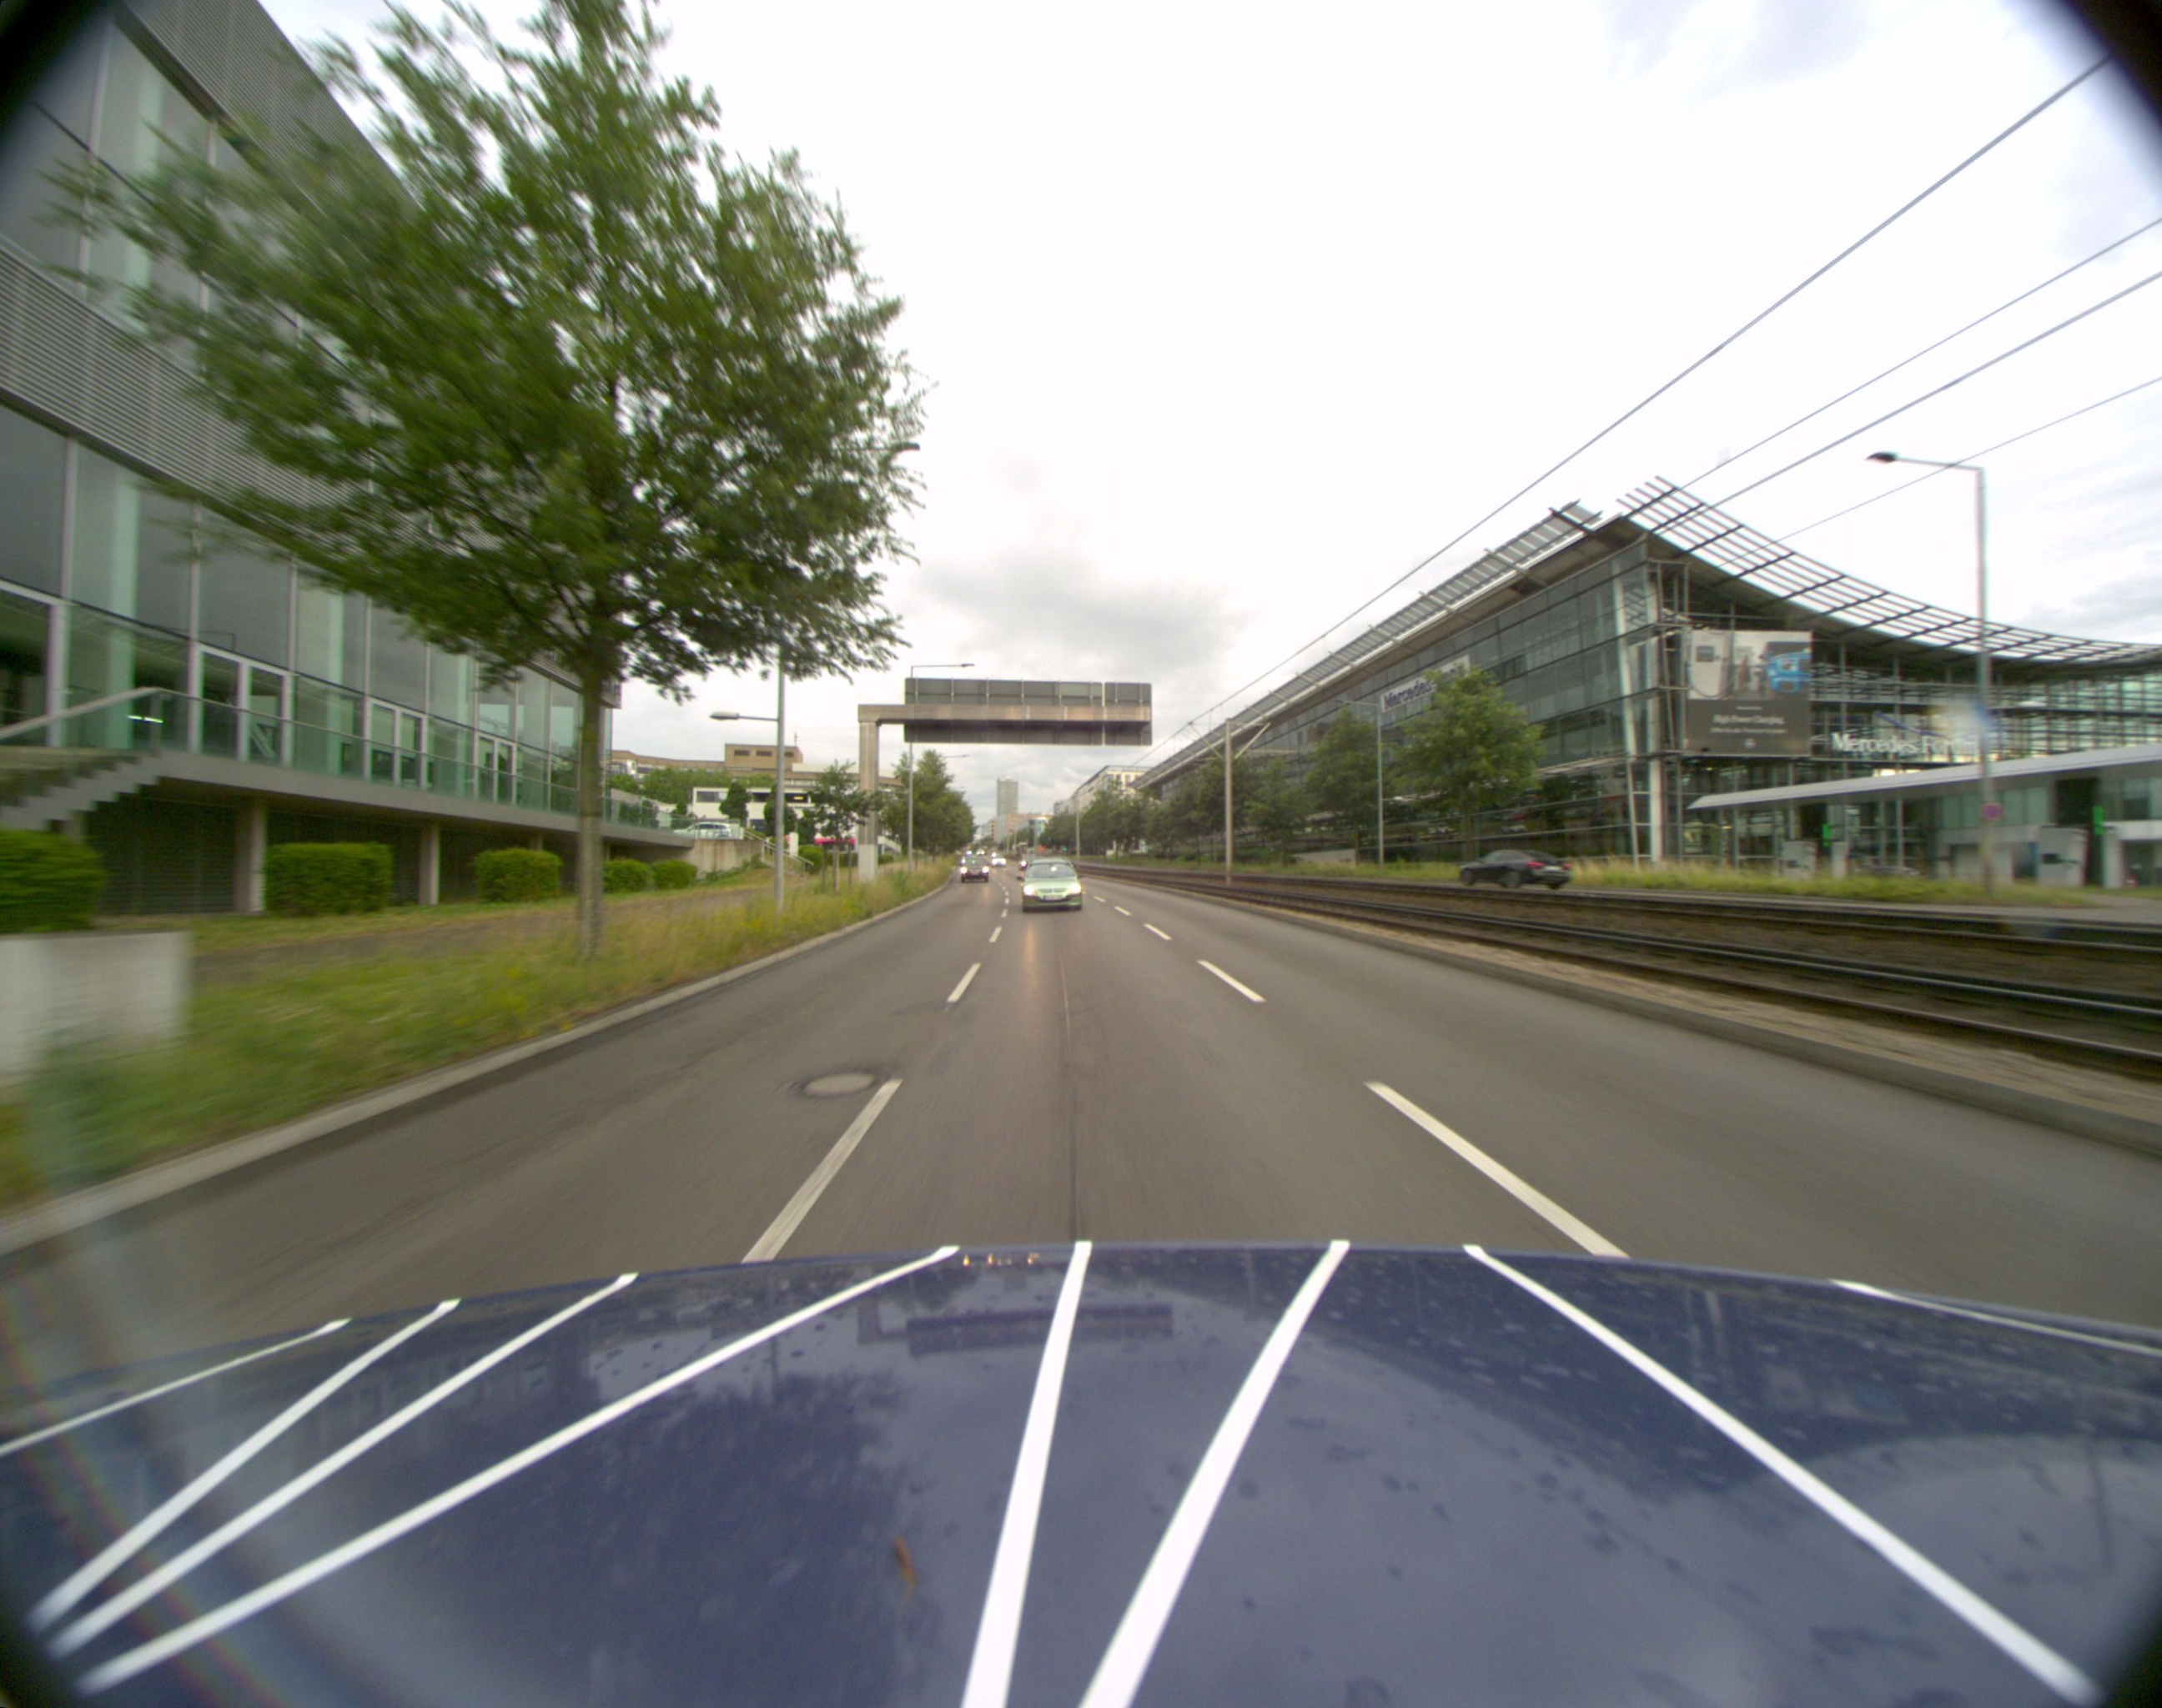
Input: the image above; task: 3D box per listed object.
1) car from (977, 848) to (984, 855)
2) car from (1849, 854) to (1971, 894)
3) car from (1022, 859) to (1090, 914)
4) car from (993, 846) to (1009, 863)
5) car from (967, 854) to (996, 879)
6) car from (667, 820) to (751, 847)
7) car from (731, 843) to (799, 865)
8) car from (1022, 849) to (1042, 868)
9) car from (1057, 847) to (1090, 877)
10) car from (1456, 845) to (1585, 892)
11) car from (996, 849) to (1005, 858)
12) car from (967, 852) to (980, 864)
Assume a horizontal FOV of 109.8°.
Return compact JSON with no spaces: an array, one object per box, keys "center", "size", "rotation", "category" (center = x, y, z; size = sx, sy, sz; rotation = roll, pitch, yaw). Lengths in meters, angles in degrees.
[{"center":[-29.413,-0.662,222.185],"size":[2.000,1.838,3.996],"rotation":[-2,2,-7],"category":"car"},{"center":[42.006,0.949,38.587],"size":[1.898,1.840,3.989],"rotation":[-3,2,-35],"category":"car"},{"center":[-0.848,0.915,23.202],"size":[1.829,1.499,4.112],"rotation":[-1,0,-5],"category":"car"},{"center":[-10.086,0.028,96.042],"size":[1.999,2.002,3.997],"rotation":[-2,2,-5],"category":"car"},{"center":[-6.628,0.826,50.755],"size":[1.830,1.599,4.112],"rotation":[-1,-1,-7],"category":"car"},{"center":[-22.811,-1.242,46.693],"size":[4.273,1.565,1.691],"rotation":[-1,0,-10],"category":"car"},{"center":[-23.776,0.003,57.317],"size":[4.435,1.565,1.691],"rotation":[-1,0,-10],"category":"car"},{"center":[-5.016,0.483,77.915],"size":[1.861,1.799,4.112],"rotation":[-1,-1,-6],"category":"car"},{"center":[-0.565,0.551,55.318],"size":[1.999,2.002,3.997],"rotation":[-2,2,-6],"category":"car"},{"center":[16.150,0.511,28.233],"size":[1.888,1.512,4.400],"rotation":[2,0,-6],"category":"car"},{"center":[-17.969,-0.104,169.538],"size":[2.000,2.002,3.996],"rotation":[-2,2,-7],"category":"car"},{"center":[-16.524,0.619,117.167],"size":[1.861,1.799,4.112],"rotation":[-1,-1,-6],"category":"car"}]
